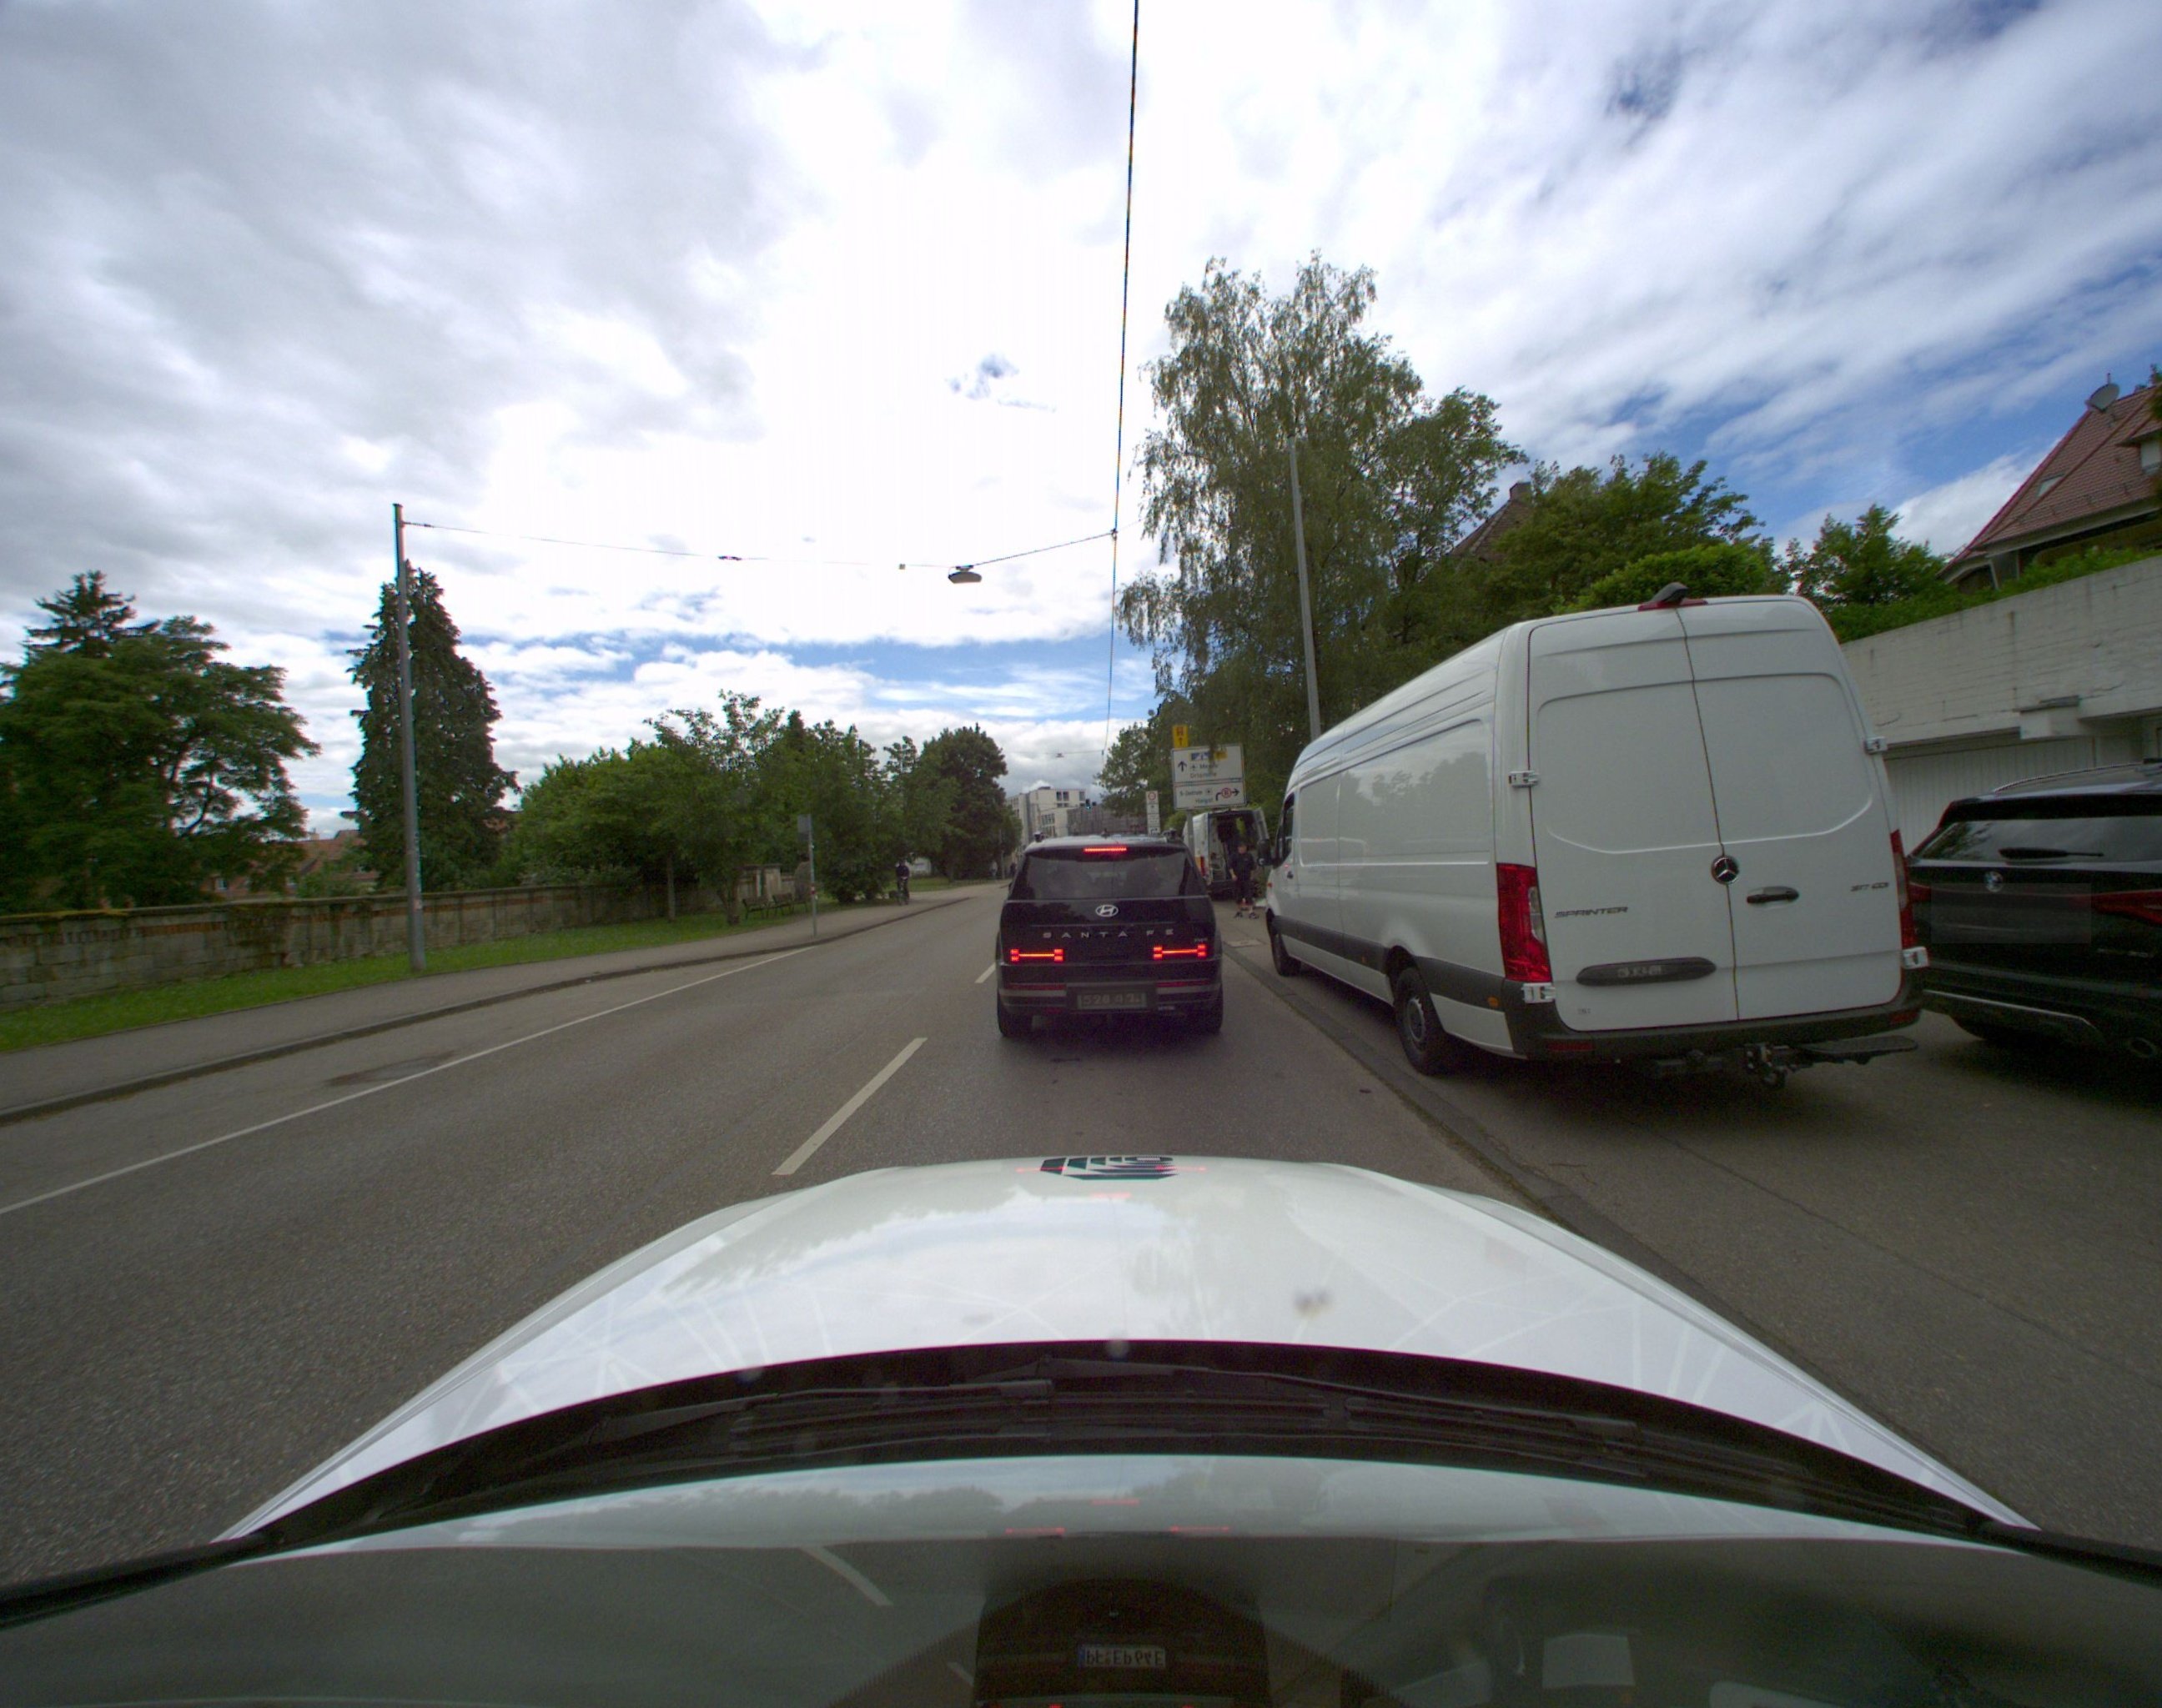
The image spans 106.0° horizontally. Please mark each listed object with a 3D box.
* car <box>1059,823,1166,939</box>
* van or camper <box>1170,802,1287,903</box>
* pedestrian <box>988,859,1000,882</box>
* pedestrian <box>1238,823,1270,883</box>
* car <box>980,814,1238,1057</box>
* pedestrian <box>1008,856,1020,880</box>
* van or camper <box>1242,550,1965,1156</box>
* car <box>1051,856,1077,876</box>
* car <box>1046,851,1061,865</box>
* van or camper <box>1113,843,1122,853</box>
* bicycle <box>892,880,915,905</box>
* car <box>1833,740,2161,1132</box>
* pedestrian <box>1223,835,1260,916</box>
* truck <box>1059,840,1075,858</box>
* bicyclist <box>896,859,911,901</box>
[{"bbox_3d":[0.617,0.495,16.465,1.890,2.042,3.995,0,-1,2],"label":"car"},{"bbox_3d":[4.344,0.018,25.322,2.332,2.494,6.603,-6,-1,1],"label":"van or camper"},{"bbox_3d":[-6.681,1.242,62.773,0.764,1.748,0.905,-2,-1,2],"label":"pedestrian"},{"bbox_3d":[4.963,-0.021,23.344,0.731,1.643,0.805,-5,-1,16],"label":"pedestrian"},{"bbox_3d":[0.265,0.618,8.001,1.890,1.776,3.995,0,-1,2],"label":"car"},{"bbox_3d":[-5.718,1.174,69.690,0.826,2.014,1.048,0,-1,4],"label":"pedestrian"},{"bbox_3d":[3.065,0.018,7.064,1.984,2.625,6.546,-6,-1,2],"label":"van or camper"},{"bbox_3d":[-1.371,0.990,67.052,1.750,1.403,4.416,-5,-1,2],"label":"car"},{"bbox_3d":[-4.880,0.771,144.555,2.328,2.315,4.950,-3,0,-4],"label":"car"},{"bbox_3d":[7.708,-1.196,172.594,1.791,1.999,3.821,0,-1,-2],"label":"van or camper"},{"bbox_3d":[-7.267,1.557,33.423,0.493,0.964,1.749,0,-1,2],"label":"bicycle"},{"bbox_3d":[6.792,0.216,4.060,4.365,1.675,1.696,-4,-1,2],"label":"car"},{"bbox_3d":[3.494,0.463,17.678,0.745,1.721,0.794,-1,-1,13],"label":"pedestrian"},{"bbox_3d":[-3.240,-1.157,187.462,3.102,3.859,9.606,-3,0,-4],"label":"truck"},{"bbox_3d":[-7.269,1.067,33.387,0.486,1.684,0.588,0,-1,1],"label":"bicyclist"}]
